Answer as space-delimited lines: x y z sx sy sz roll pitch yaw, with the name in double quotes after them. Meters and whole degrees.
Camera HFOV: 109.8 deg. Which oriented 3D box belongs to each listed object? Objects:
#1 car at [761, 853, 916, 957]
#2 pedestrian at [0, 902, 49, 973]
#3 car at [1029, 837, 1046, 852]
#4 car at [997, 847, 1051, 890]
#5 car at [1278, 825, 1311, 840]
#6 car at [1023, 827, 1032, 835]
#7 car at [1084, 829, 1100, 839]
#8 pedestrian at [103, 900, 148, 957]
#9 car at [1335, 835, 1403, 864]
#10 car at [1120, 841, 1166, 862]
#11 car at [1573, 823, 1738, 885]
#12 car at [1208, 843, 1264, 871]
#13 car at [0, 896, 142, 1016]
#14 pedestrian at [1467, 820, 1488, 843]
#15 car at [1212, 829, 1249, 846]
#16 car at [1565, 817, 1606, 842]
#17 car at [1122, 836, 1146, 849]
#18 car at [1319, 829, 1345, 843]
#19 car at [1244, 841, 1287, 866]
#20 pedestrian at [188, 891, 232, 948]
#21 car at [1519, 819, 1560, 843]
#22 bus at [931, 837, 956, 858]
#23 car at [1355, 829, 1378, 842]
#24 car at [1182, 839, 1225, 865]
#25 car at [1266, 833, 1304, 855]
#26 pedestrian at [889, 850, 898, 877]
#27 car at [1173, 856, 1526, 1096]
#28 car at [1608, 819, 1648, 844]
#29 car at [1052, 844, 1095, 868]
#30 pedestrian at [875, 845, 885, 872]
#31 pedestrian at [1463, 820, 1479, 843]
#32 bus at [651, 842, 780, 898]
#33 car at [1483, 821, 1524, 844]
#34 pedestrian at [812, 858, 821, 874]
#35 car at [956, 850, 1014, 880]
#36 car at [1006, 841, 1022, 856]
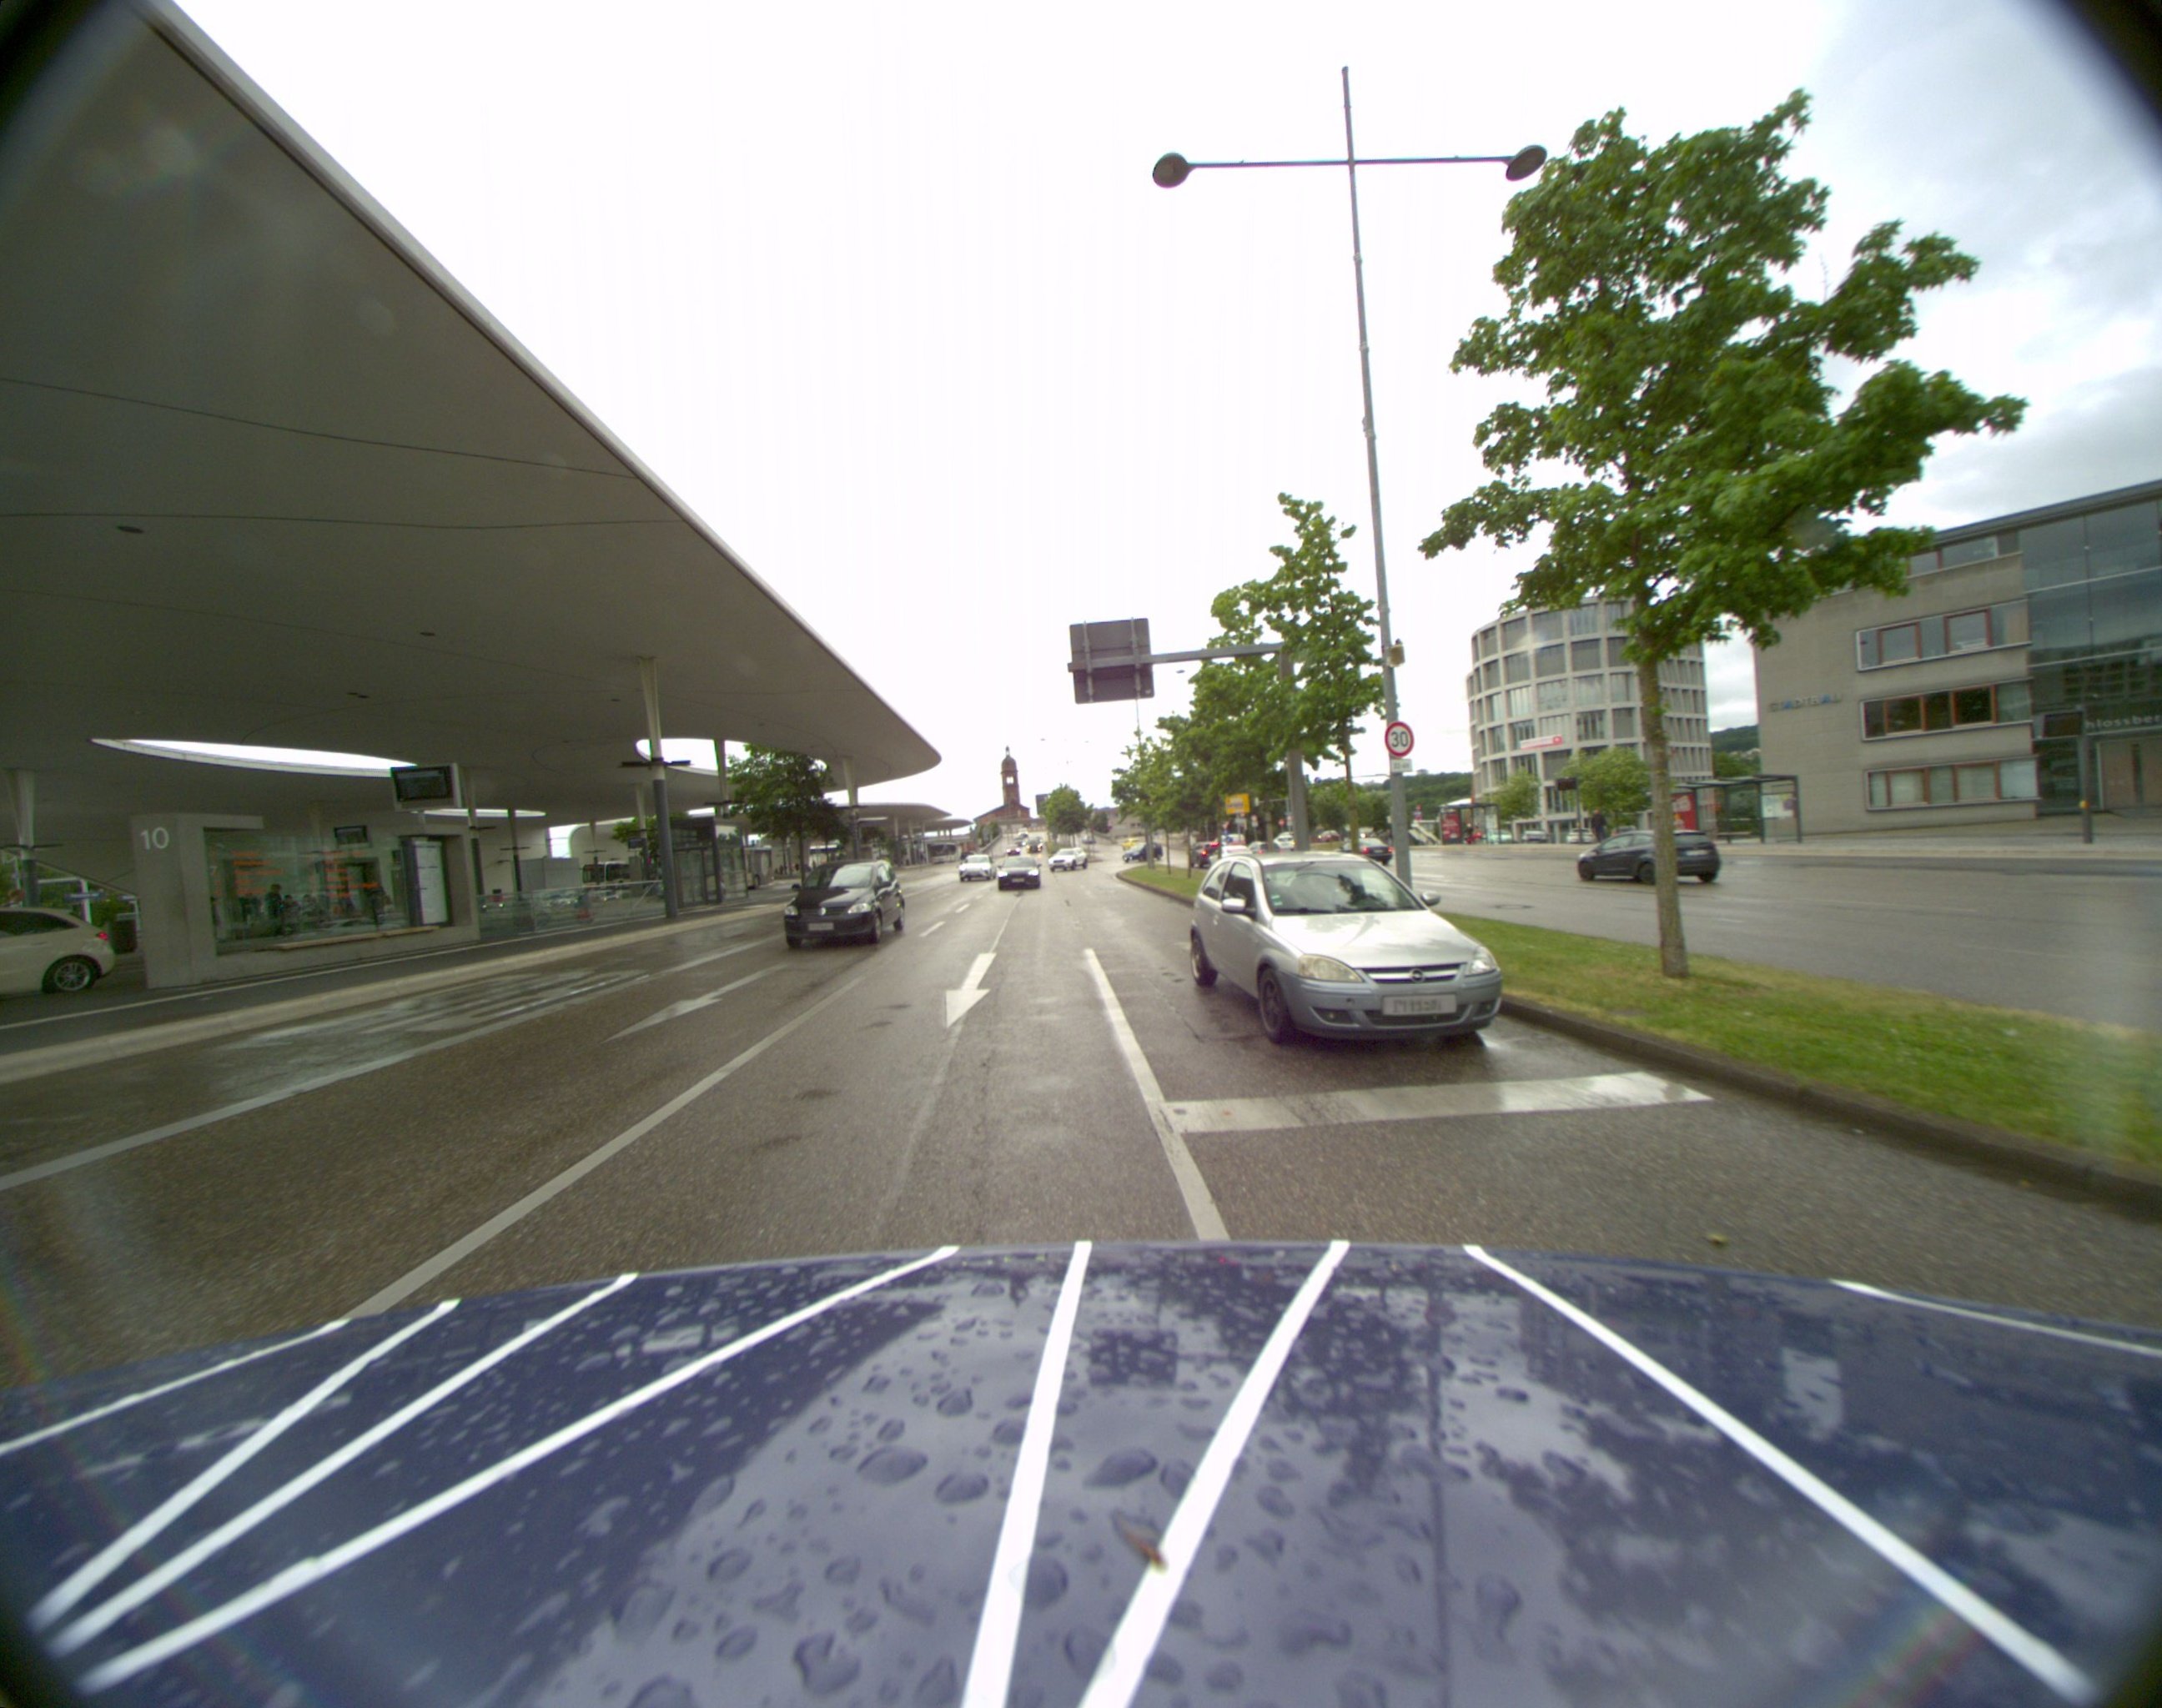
-4.562 0.865 14.992 1.876 1.692 4.156 -2 0 -3 "car"
-23.883 1.867 17.087 0.479 1.505 0.535 -3 1 1 "pedestrian"
-6.206 -1.359 108.385 2.000 2.002 3.996 -2 1 -8 "car"
-2.449 0.591 33.612 1.875 1.692 4.157 -2 1 2 "car"
25.363 -2.583 90.109 1.871 1.625 4.293 -1 2 44 "car"
-11.730 -4.994 167.136 1.650 1.552 3.647 -2 1 -8 "car"
1.833 -3.319 127.280 1.877 1.625 4.154 -3 1 -9 "car"
-26.573 2.053 21.137 0.479 1.505 0.525 -3 1 1 "pedestrian"
15.365 -0.288 40.744 1.961 1.414 3.998 -2 1 -2 "car"
5.581 -0.226 68.000 1.871 1.625 4.165 -1 2 44 "car"
15.662 -0.033 20.985 1.681 1.504 3.863 -2 1 2 "car"
8.390 0.138 41.437 2.010 1.345 4.163 -2 1 -2 "car"
-17.229 1.648 10.843 1.999 1.671 4.539 -2 1 -2 "car"
26.106 -1.483 50.051 0.983 1.482 0.734 -2 2 8 "pedestrian"
15.750 -1.709 79.827 1.871 1.625 4.165 -1 2 41 "car"
37.893 -1.839 56.977 1.872 1.692 4.165 -2 1 43 "car"
7.254 -1.541 104.253 1.878 1.625 4.151 -3 1 -16 "car"
32.175 -2.317 97.367 1.872 1.625 4.165 -2 1 38 "car"
11.852 -0.071 49.070 1.699 1.457 4.451 -2 1 0 "car"
-24.084 1.795 21.024 0.479 1.505 0.535 -3 1 1 "pedestrian"
35.633 -1.782 59.027 1.871 1.692 4.165 -1 2 43 "car"
-21.874 -1.030 120.476 3.585 3.080 10.743 -3 1 -11 "bus"
41.003 -2.622 109.178 1.889 1.704 4.225 -1 2 38 "car"
7.805 -0.177 48.736 2.010 1.545 4.163 -2 1 0 "car"
16.352 -0.821 61.131 1.960 1.609 4.207 -2 1 0 "car"
-12.551 0.648 50.886 0.446 1.754 0.536 -3 1 -16 "pedestrian"
2.042 0.821 6.953 1.699 1.457 3.718 -2 1 -4 "car"
39.973 -1.682 55.497 1.871 1.692 4.165 -1 2 43 "car"
-0.502 0.107 57.295 1.873 1.625 4.306 -2 1 19 "car"
-13.377 0.295 50.555 0.445 1.754 0.537 -3 1 -9 "pedestrian"
26.198 -1.507 51.056 0.733 1.482 0.734 -2 2 6 "pedestrian"
-23.211 0.888 49.263 2.877 3.064 11.918 -2 0 -2 "bus"
33.851 -1.750 60.792 1.871 1.692 4.165 -1 2 43 "car"
-34.379 1.585 98.835 1.026 2.002 0.878 -3 2 -22 "pedestrian"
-5.714 0.633 45.649 1.808 1.550 4.054 -2 1 18 "car"
-9.298 -0.779 105.770 1.999 2.002 3.998 -2 1 -4 "car"
